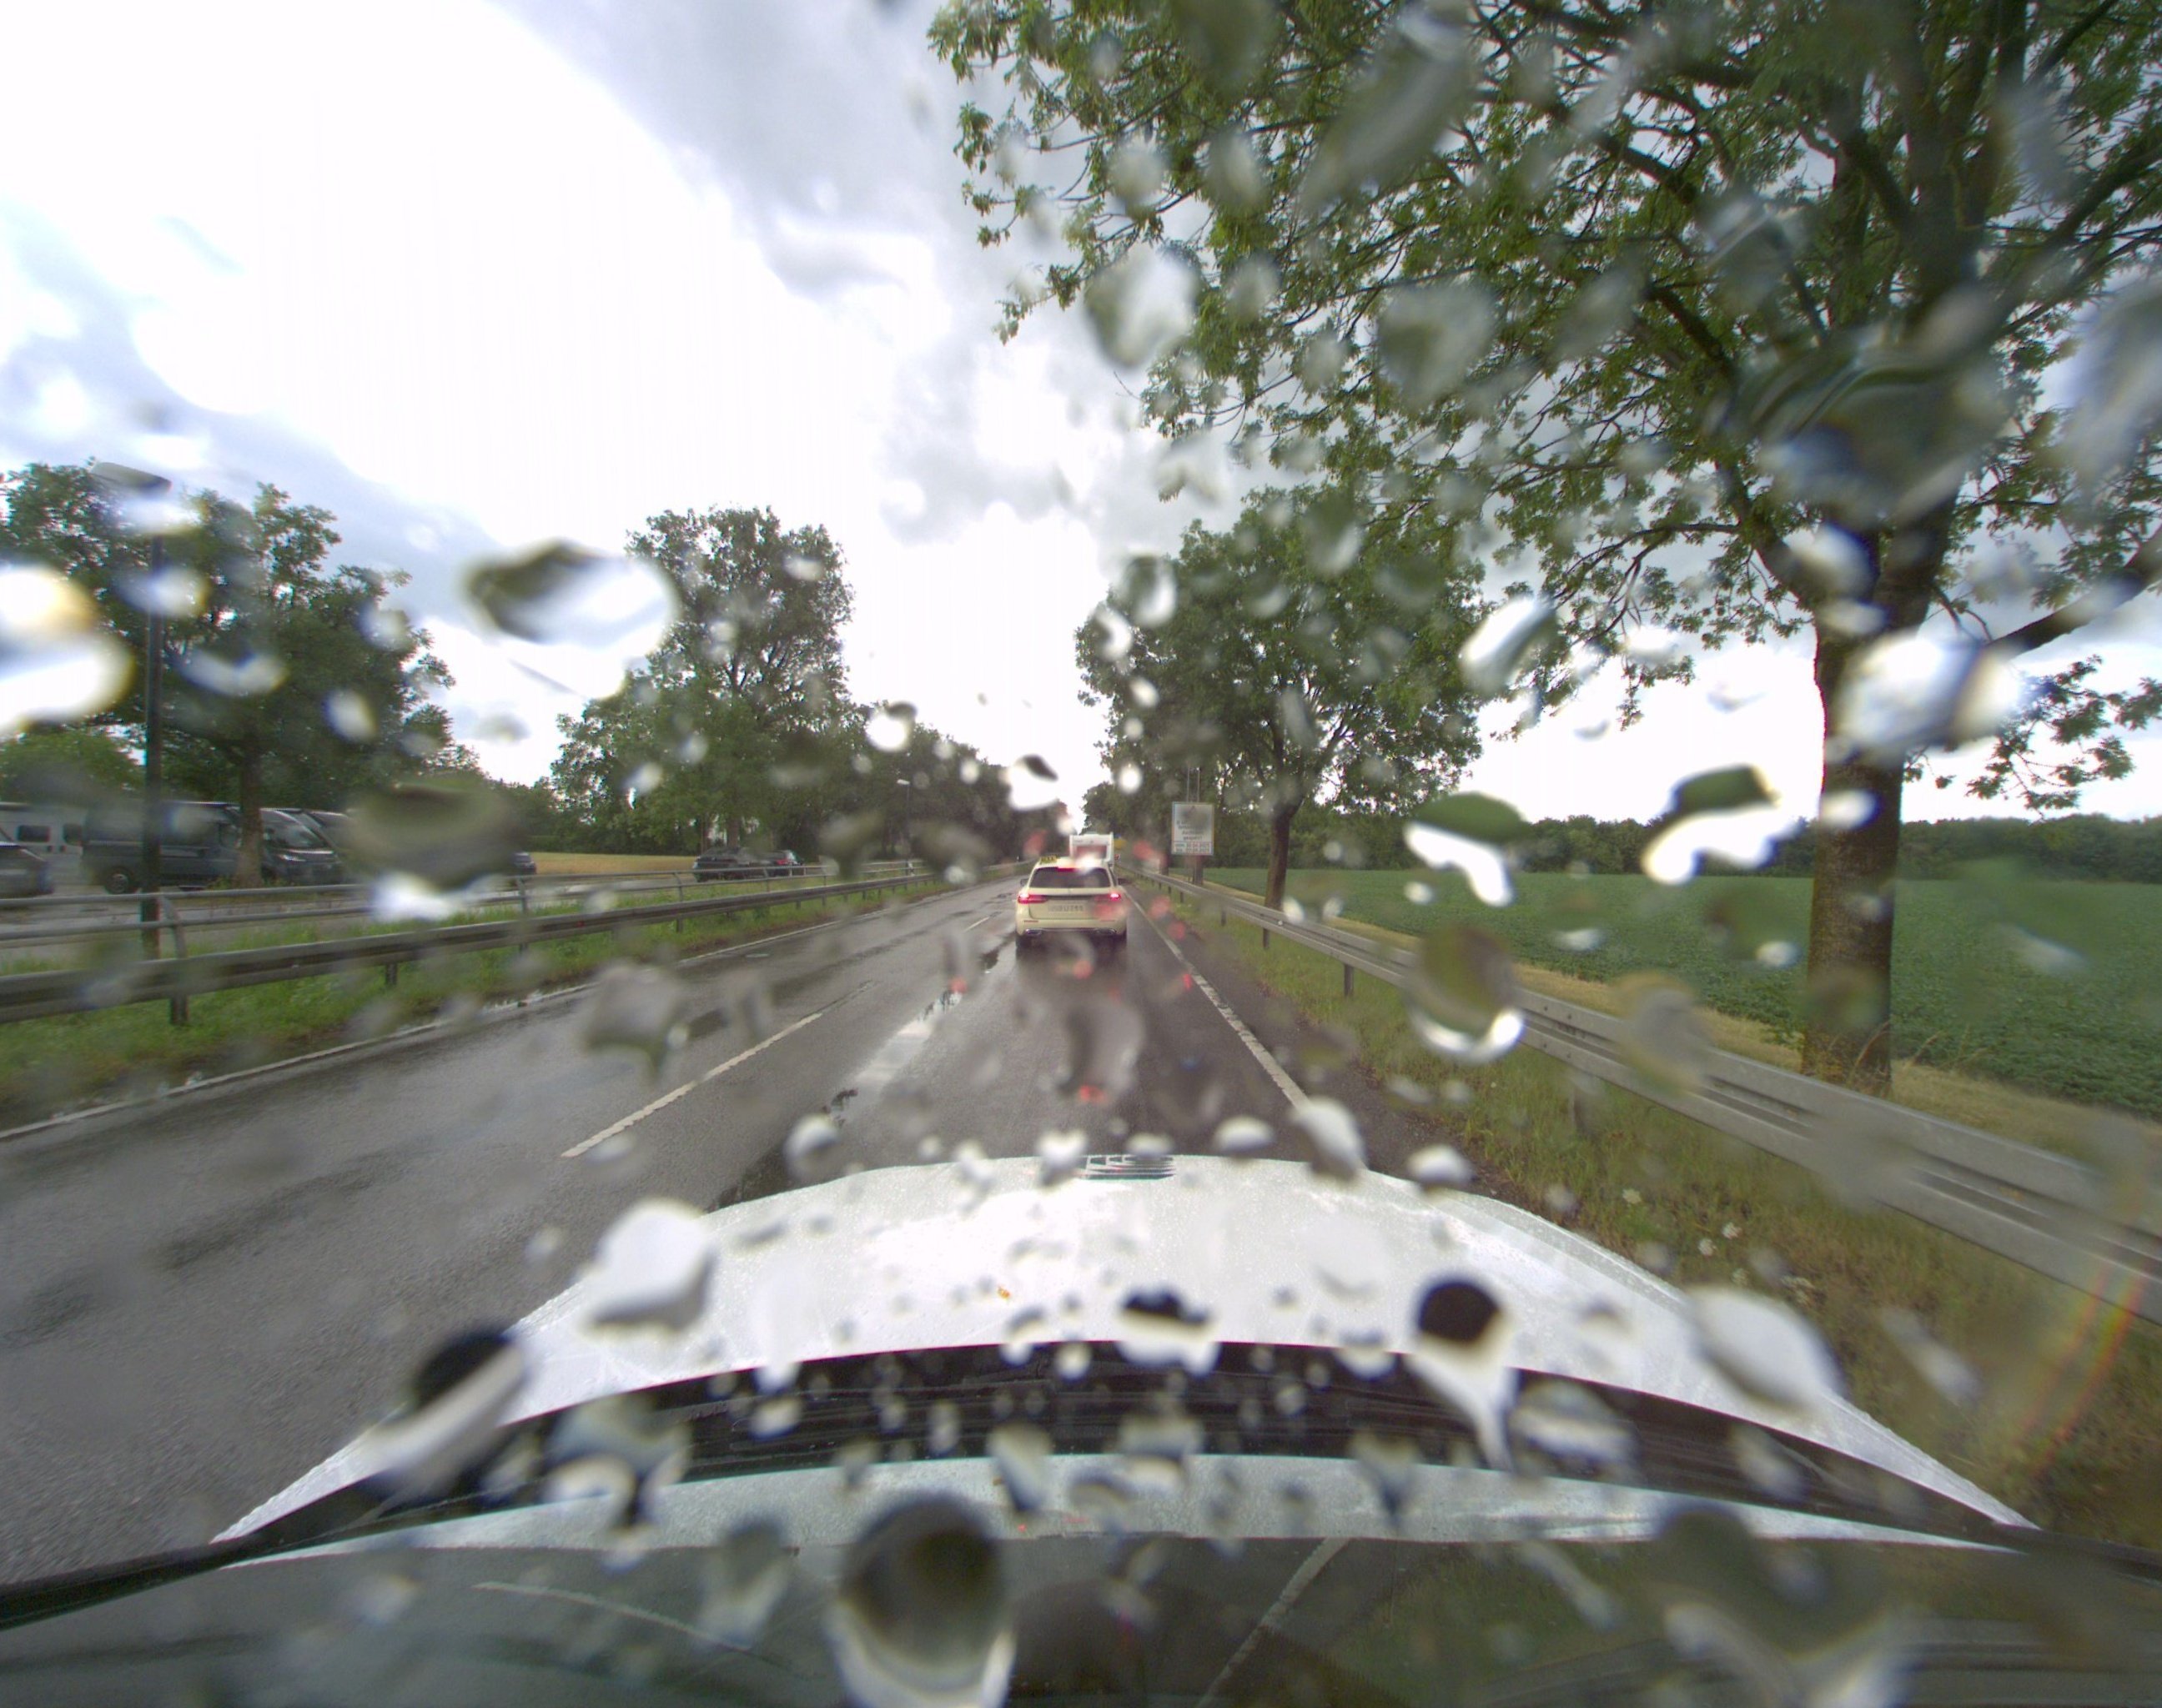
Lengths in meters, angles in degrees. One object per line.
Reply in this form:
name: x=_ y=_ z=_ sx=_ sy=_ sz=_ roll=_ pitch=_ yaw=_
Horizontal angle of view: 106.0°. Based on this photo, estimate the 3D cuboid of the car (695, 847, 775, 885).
car: x=-14.772 y=0.490 z=35.108 sx=1.512 sy=1.491 sz=5.115 roll=1 pitch=0 yaw=-3

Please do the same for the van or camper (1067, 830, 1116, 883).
van or camper: x=0.631 y=0.126 z=43.799 sx=2.480 sy=2.685 sz=5.703 roll=0 pitch=0 yaw=2

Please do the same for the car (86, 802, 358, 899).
car: x=-23.945 y=-0.076 z=22.887 sx=5.173 sy=2.501 sz=1.997 roll=1 pitch=0 yaw=-5

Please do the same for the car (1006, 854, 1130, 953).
car: x=-0.129 y=0.753 z=14.341 sx=1.858 sy=1.476 sz=4.002 roll=-1 pitch=0 yaw=2

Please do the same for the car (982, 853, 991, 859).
car: x=-23.312 y=0.569 z=201.686 sx=1.780 sy=1.416 sz=3.999 roll=1 pitch=0 yaw=-1

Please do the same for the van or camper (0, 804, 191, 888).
van or camper: x=-33.408 y=-0.278 z=26.673 sx=5.796 sy=2.590 sz=1.996 roll=1 pitch=0 yaw=-6

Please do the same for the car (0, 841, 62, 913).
car: x=-24.596 y=0.454 z=17.356 sx=3.869 sy=1.496 sz=1.541 roll=1 pitch=0 yaw=2

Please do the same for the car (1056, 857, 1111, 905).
car: x=0.154 y=0.828 z=26.943 sx=1.658 sy=1.430 sz=4.002 roll=-1 pitch=0 yaw=2

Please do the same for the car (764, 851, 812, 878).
car: x=-14.961 y=0.500 z=41.754 sx=1.280 sy=1.331 sz=3.893 roll=0 pitch=0 yaw=-3

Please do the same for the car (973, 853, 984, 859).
car: x=-23.632 y=0.478 z=188.249 sx=1.778 sy=1.416 sz=4.002 roll=1 pitch=0 yaw=2

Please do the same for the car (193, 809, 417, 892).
car: x=-24.764 y=-0.100 z=26.153 sx=5.079 sy=2.459 sz=1.998 roll=1 pitch=0 yaw=-2

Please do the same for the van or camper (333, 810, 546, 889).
van or camper: x=-23.305 y=-0.147 z=29.794 sx=5.864 sy=2.677 sz=2.078 roll=1 pitch=0 yaw=-5
